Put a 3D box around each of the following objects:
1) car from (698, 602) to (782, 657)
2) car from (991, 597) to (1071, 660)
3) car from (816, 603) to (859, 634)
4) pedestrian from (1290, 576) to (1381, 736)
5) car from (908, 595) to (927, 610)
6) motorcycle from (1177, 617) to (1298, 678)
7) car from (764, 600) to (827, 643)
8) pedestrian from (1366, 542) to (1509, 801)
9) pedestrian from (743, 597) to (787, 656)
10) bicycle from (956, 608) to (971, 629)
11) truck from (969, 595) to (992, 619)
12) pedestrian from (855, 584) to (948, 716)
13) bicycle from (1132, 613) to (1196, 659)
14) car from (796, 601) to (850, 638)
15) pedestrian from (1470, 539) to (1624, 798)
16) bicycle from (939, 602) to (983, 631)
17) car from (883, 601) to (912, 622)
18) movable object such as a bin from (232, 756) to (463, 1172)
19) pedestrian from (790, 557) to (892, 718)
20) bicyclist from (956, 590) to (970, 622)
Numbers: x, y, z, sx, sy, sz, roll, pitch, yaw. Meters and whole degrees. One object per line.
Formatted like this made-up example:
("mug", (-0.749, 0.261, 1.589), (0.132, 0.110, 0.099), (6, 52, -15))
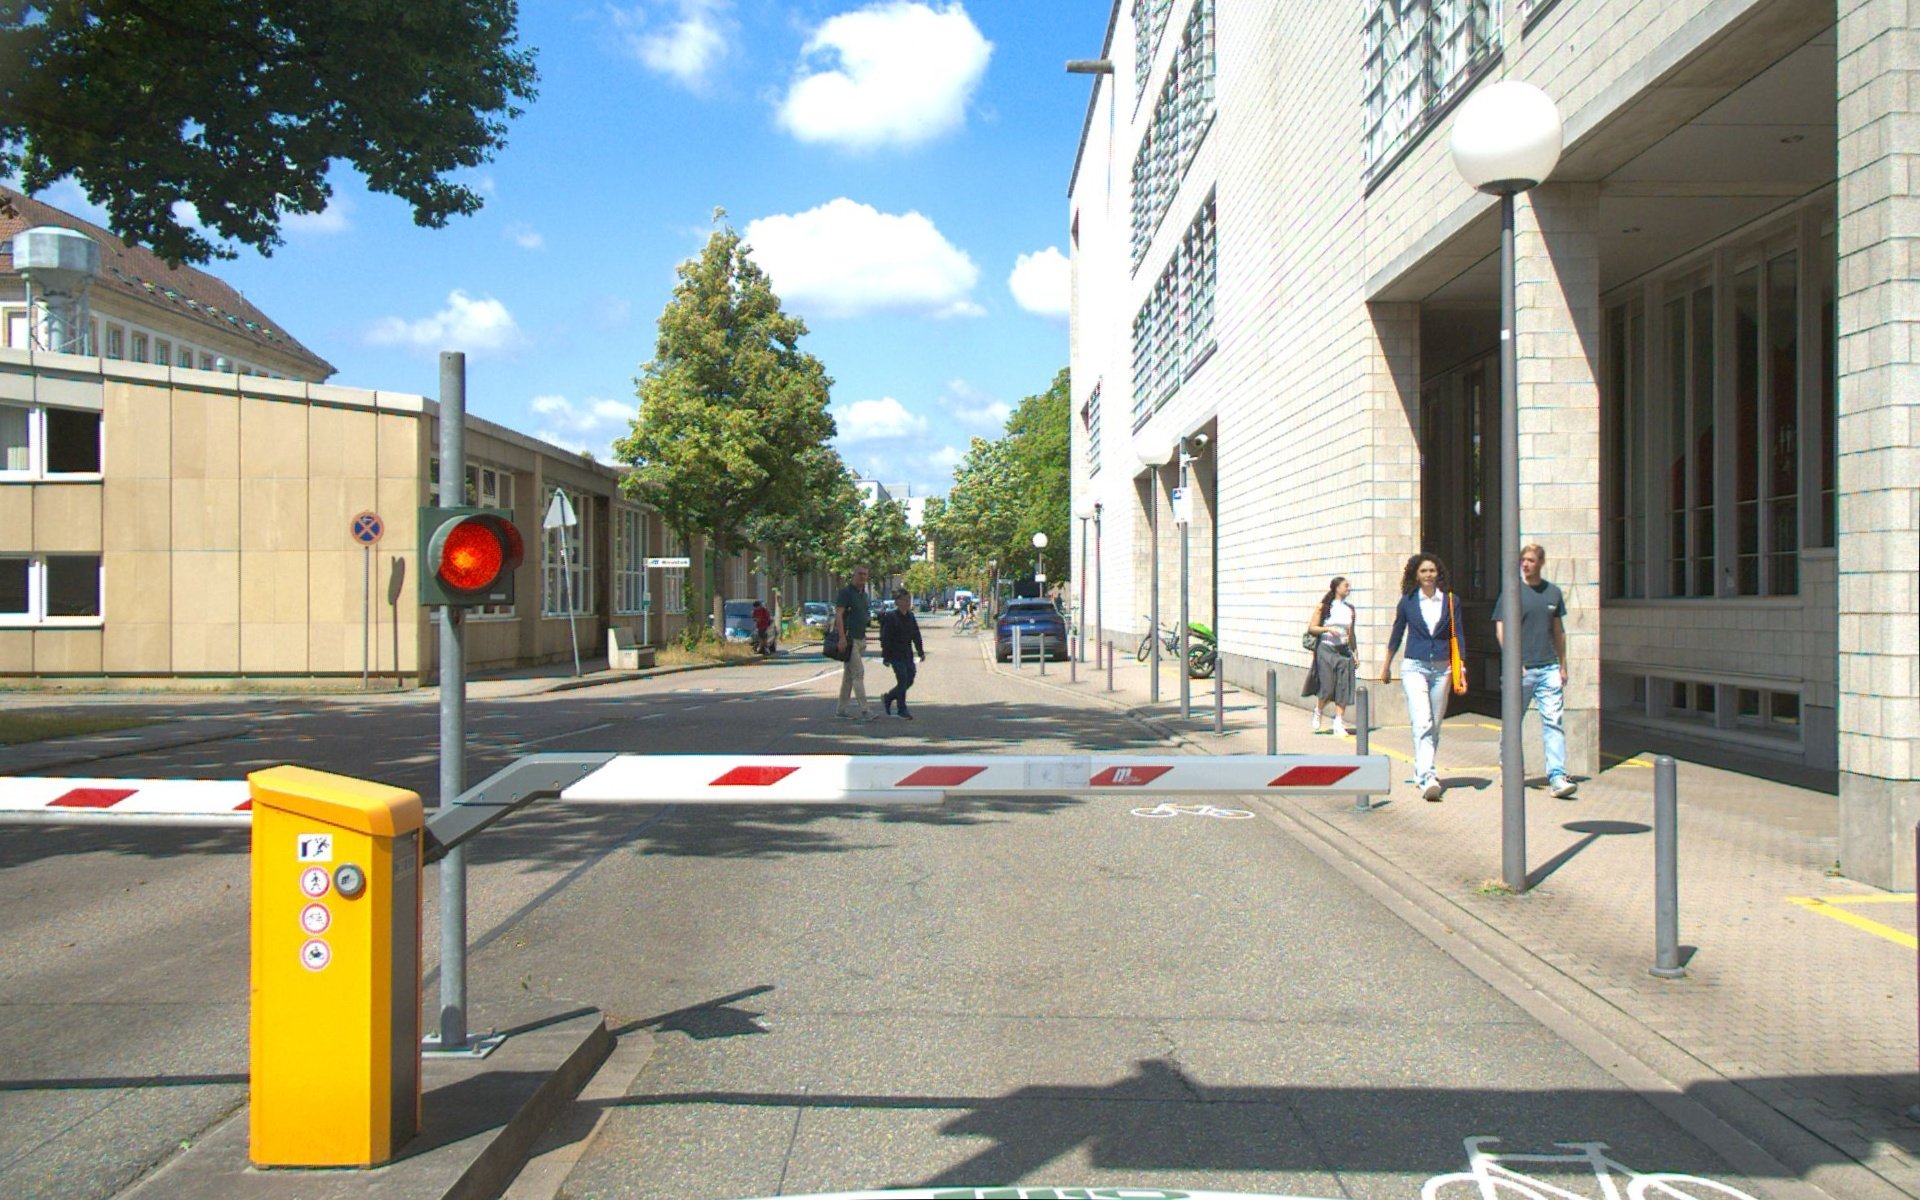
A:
("car", (-6.611, 0.855, 50.140), (1.952, 1.573, 4.212), (0, 0, 1))
("car", (1.794, 0.707, 43.092), (1.952, 1.573, 4.212), (0, 0, 1))
("car", (-6.492, 0.961, 87.989), (1.952, 1.573, 4.212), (0, 0, 1))
("pedestrian", (4.055, 0.586, 17.903), (0.726, 1.661, 0.887), (-2, 0, -1))
("car", (-5.256, 0.338, 204.920), (1.952, 1.751, 4.001), (-1, -2, 3))
("motorcycle", (5.079, 0.872, 30.327), (2.079, 1.040, 0.660), (-2, -2, 1))
("car", (-6.270, 0.790, 63.457), (1.952, 1.573, 4.212), (0, 0, 1))
("pedestrian", (3.507, 0.501, 12.229), (0.680, 1.812, 1.085), (-2, 0, -1))
("pedestrian", (-5.646, 0.768, 47.891), (0.881, 1.661, 0.882), (-1, -1, 43))
("bicycle", (0.233, 1.267, 113.348), (0.967, 1.339, 2.963), (0, -2, 0))
("truck", (1.829, 0.648, 148.003), (1.953, 2.049, 3.998), (0, -2, -1))
("pedestrian", (-0.761, 0.637, 21.355), (0.884, 1.661, 0.879), (1, -1, -30))
("bicycle", (4.939, 0.857, 39.978), (1.511, 1.085, 0.648), (-1, 0, 8))
("car", (-5.960, 0.836, 72.247), (1.952, 1.573, 4.212), (0, 0, 1))
("pedestrian", (4.306, 0.482, 12.196), (0.751, 1.812, 0.910), (-2, 0, -1))
("bicycle", (0.019, 0.813, 81.064), (0.975, 1.339, 2.939), (1, -2, -25))
("car", (-4.780, 0.894, 126.990), (1.952, 1.573, 4.212), (0, 0, 1))
("movable object such as a bin", (-1.473, 0.857, 4.007), (0.407, 0.921, 0.353), (0, 0, 4))
("pedestrian", (-1.493, 0.464, 20.662), (0.992, 1.959, 0.878), (1, -1, -30))
("bicyclist", (0.211, 0.393, 113.359), (0.967, 2.169, 1.036), (0, -2, -1))
